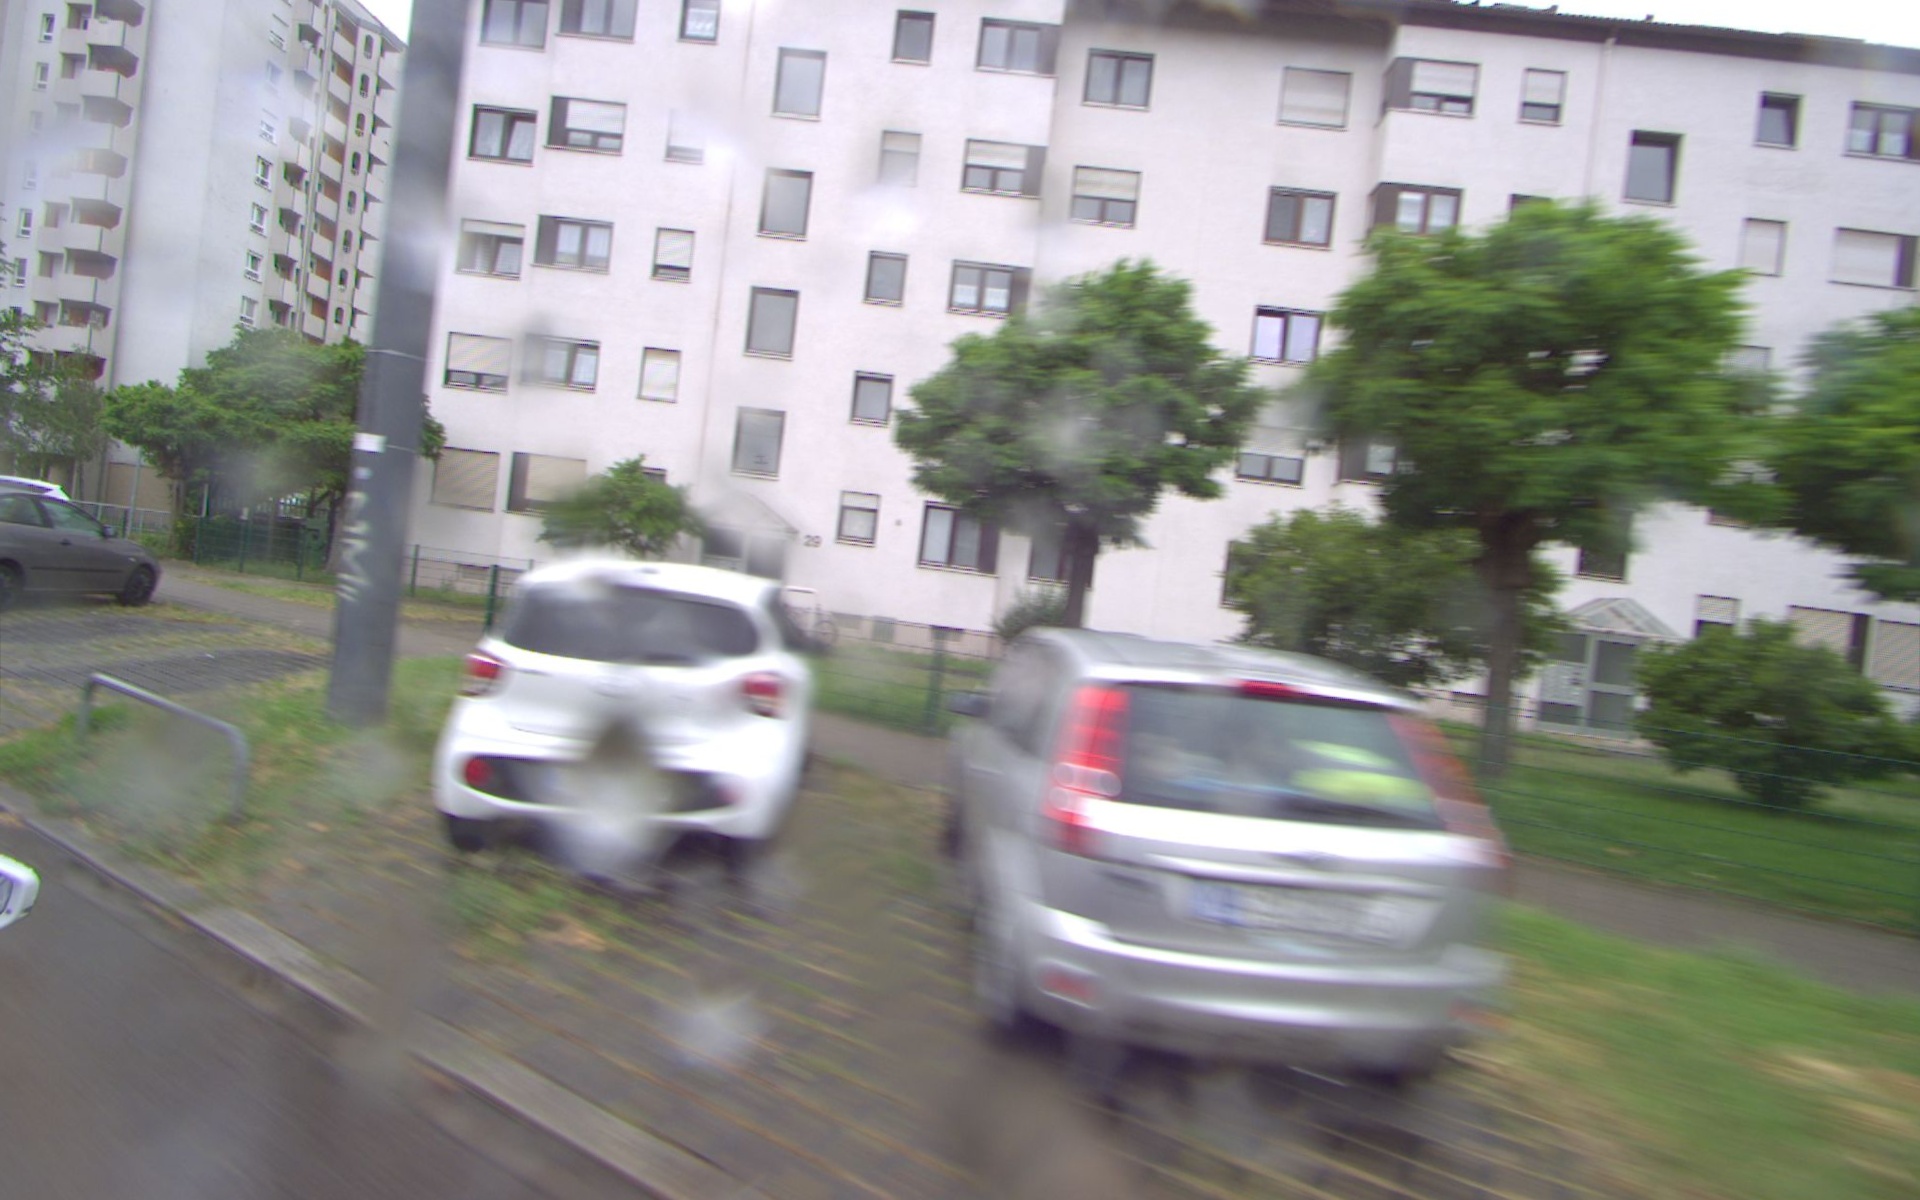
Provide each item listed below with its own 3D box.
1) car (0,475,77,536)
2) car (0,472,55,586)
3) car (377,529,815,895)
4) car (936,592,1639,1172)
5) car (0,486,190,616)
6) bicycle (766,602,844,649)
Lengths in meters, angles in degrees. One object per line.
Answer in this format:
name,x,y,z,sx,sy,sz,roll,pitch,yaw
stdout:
car,-32.537,-3.332,33.089,1.962,1.767,4.819,7,0,18
car,-14.842,-1.121,13.471,1.826,1.672,4.342,7,0,-8
car,-1.888,0.492,6.465,1.675,1.527,3.994,5,1,-7
car,0.888,0.801,4.826,1.751,1.527,3.996,5,1,-4
car,-11.818,-0.671,12.532,1.705,1.447,3.993,7,0,-8
bicycle,-3.441,0.556,22.363,1.542,0.858,0.491,7,1,6
